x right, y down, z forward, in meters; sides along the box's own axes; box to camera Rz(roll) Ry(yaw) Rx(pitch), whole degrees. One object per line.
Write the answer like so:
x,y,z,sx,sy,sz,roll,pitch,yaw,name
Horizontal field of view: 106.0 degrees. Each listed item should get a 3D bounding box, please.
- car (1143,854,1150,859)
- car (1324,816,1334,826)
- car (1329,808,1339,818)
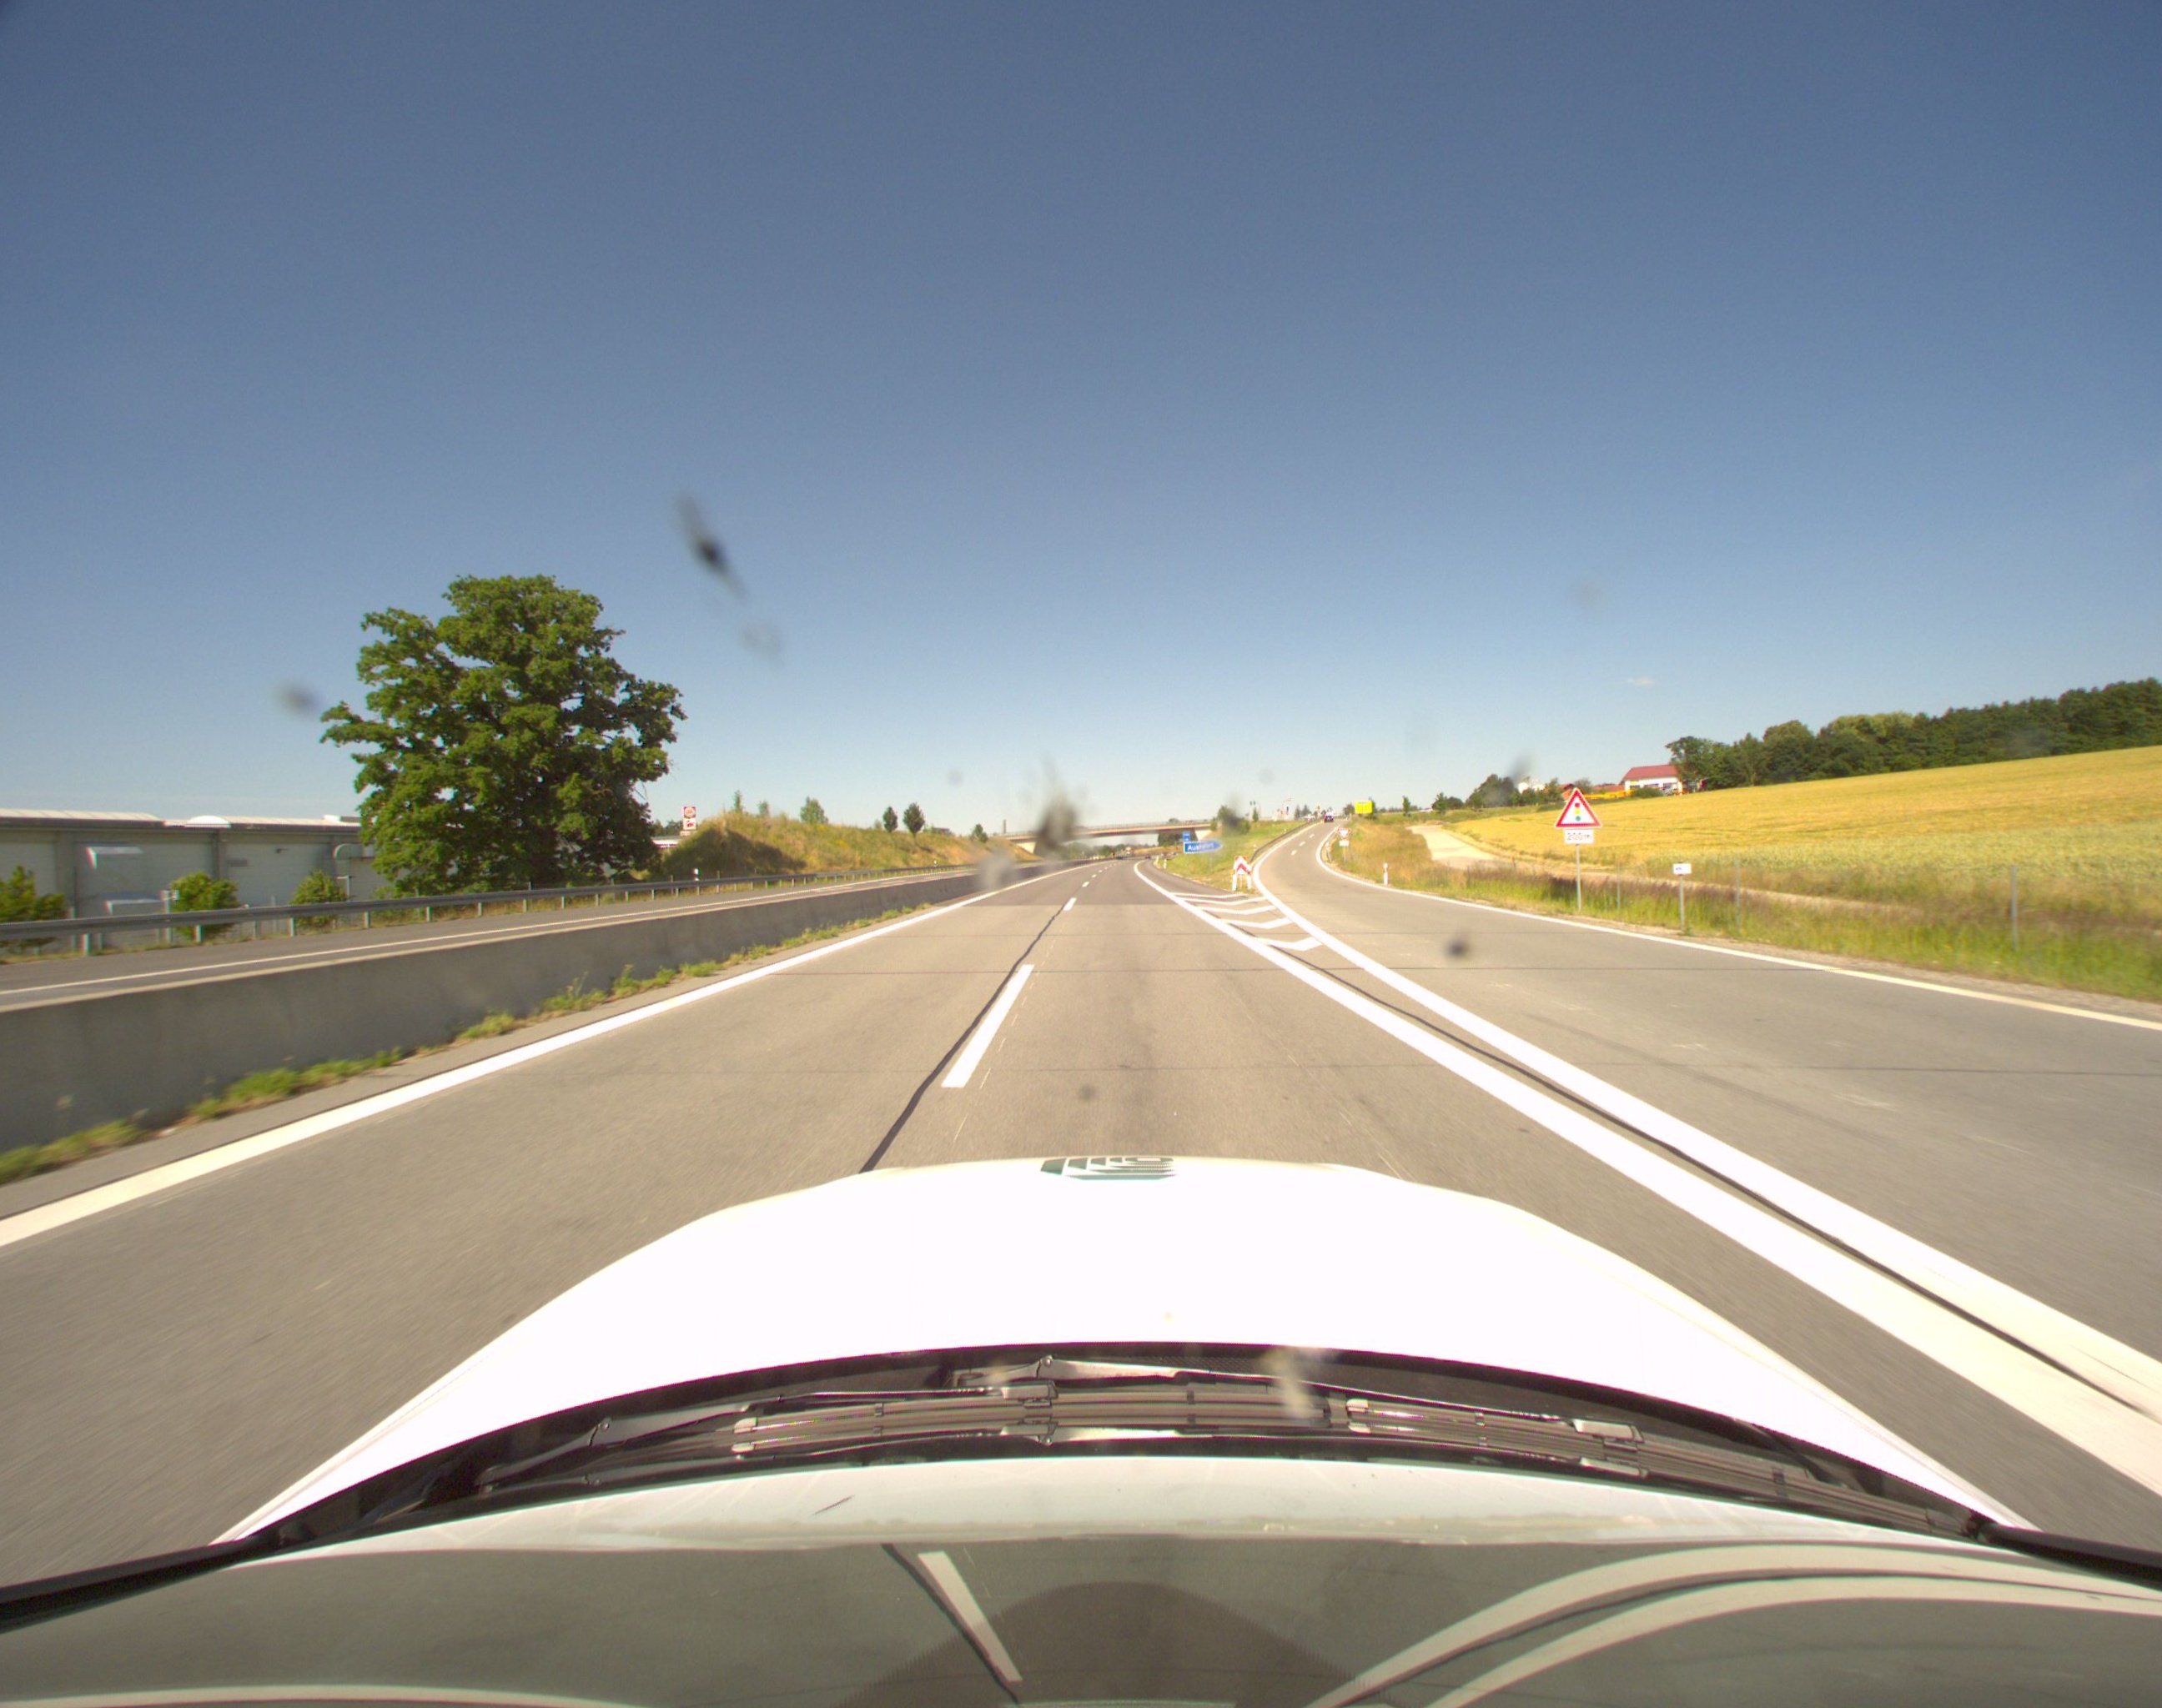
20.048,0.634,249.330,1.986,1.420,4.002,-3,0,2,car
53.361,-7.107,175.096,1.977,2.013,4.019,-3,0,18,car
56.593,-9.242,182.168,1.977,2.013,4.019,-3,0,18,car
